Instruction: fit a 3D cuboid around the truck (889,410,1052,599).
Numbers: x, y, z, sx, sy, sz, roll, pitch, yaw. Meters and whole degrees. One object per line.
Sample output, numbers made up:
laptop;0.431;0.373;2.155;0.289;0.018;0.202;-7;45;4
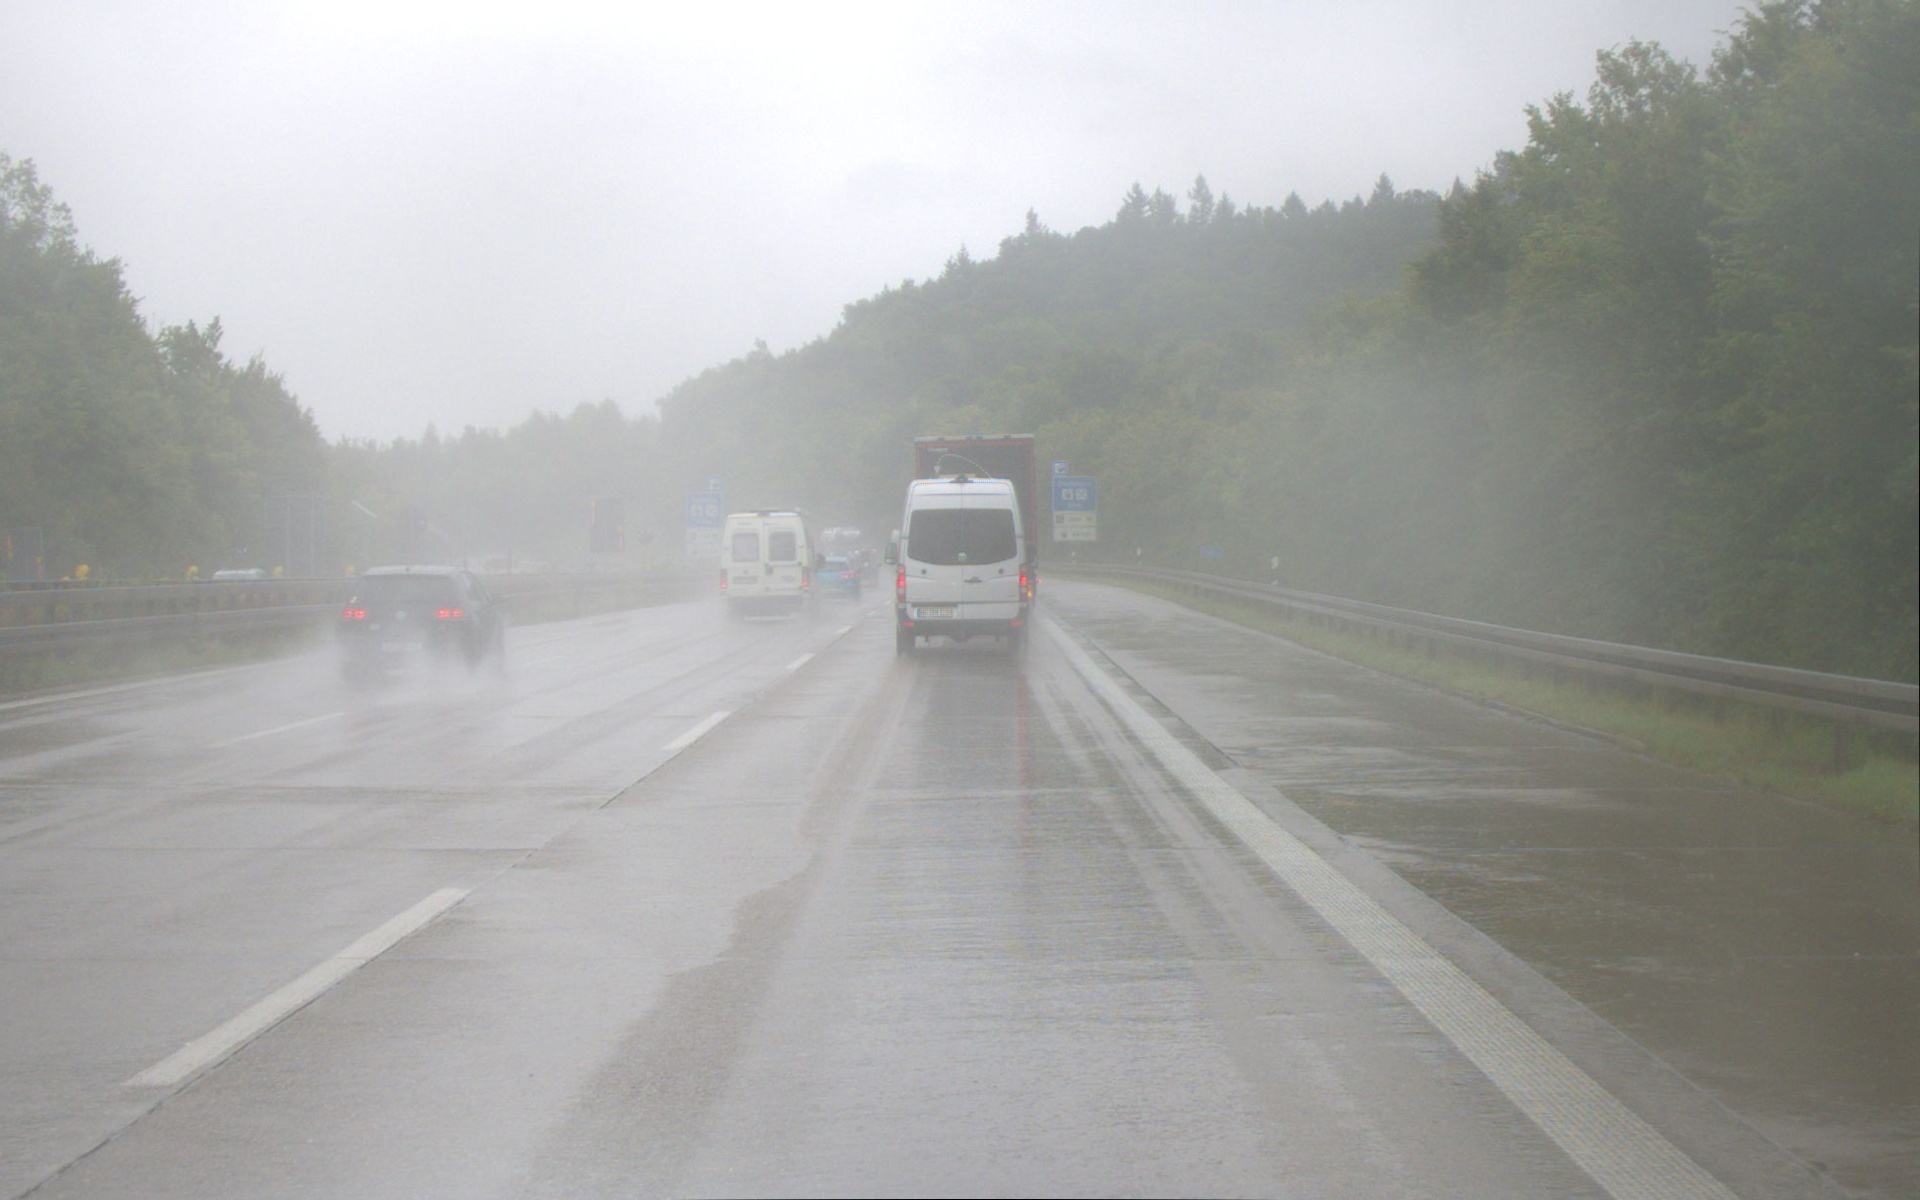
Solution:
truck;0.175;-2.231;77.905;3.385;3.954;8.668;-2;3;-1

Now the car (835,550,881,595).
car;-4.292;-1.154;144.847;1.868;1.804;4.189;2;1;-1

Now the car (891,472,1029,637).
car;-0.052;-0.689;52.458;1.899;2.326;5.251;2;1;-1

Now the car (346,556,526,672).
car;-6.583;0.153;43.540;1.740;1.383;4.322;0;0;-2

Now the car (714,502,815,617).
car;-4.344;-0.916;77.149;1.997;2.423;5.791;2;1;-1

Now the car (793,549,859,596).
car;-4.123;-0.847;105.186;1.856;1.334;4.352;2;1;-3
